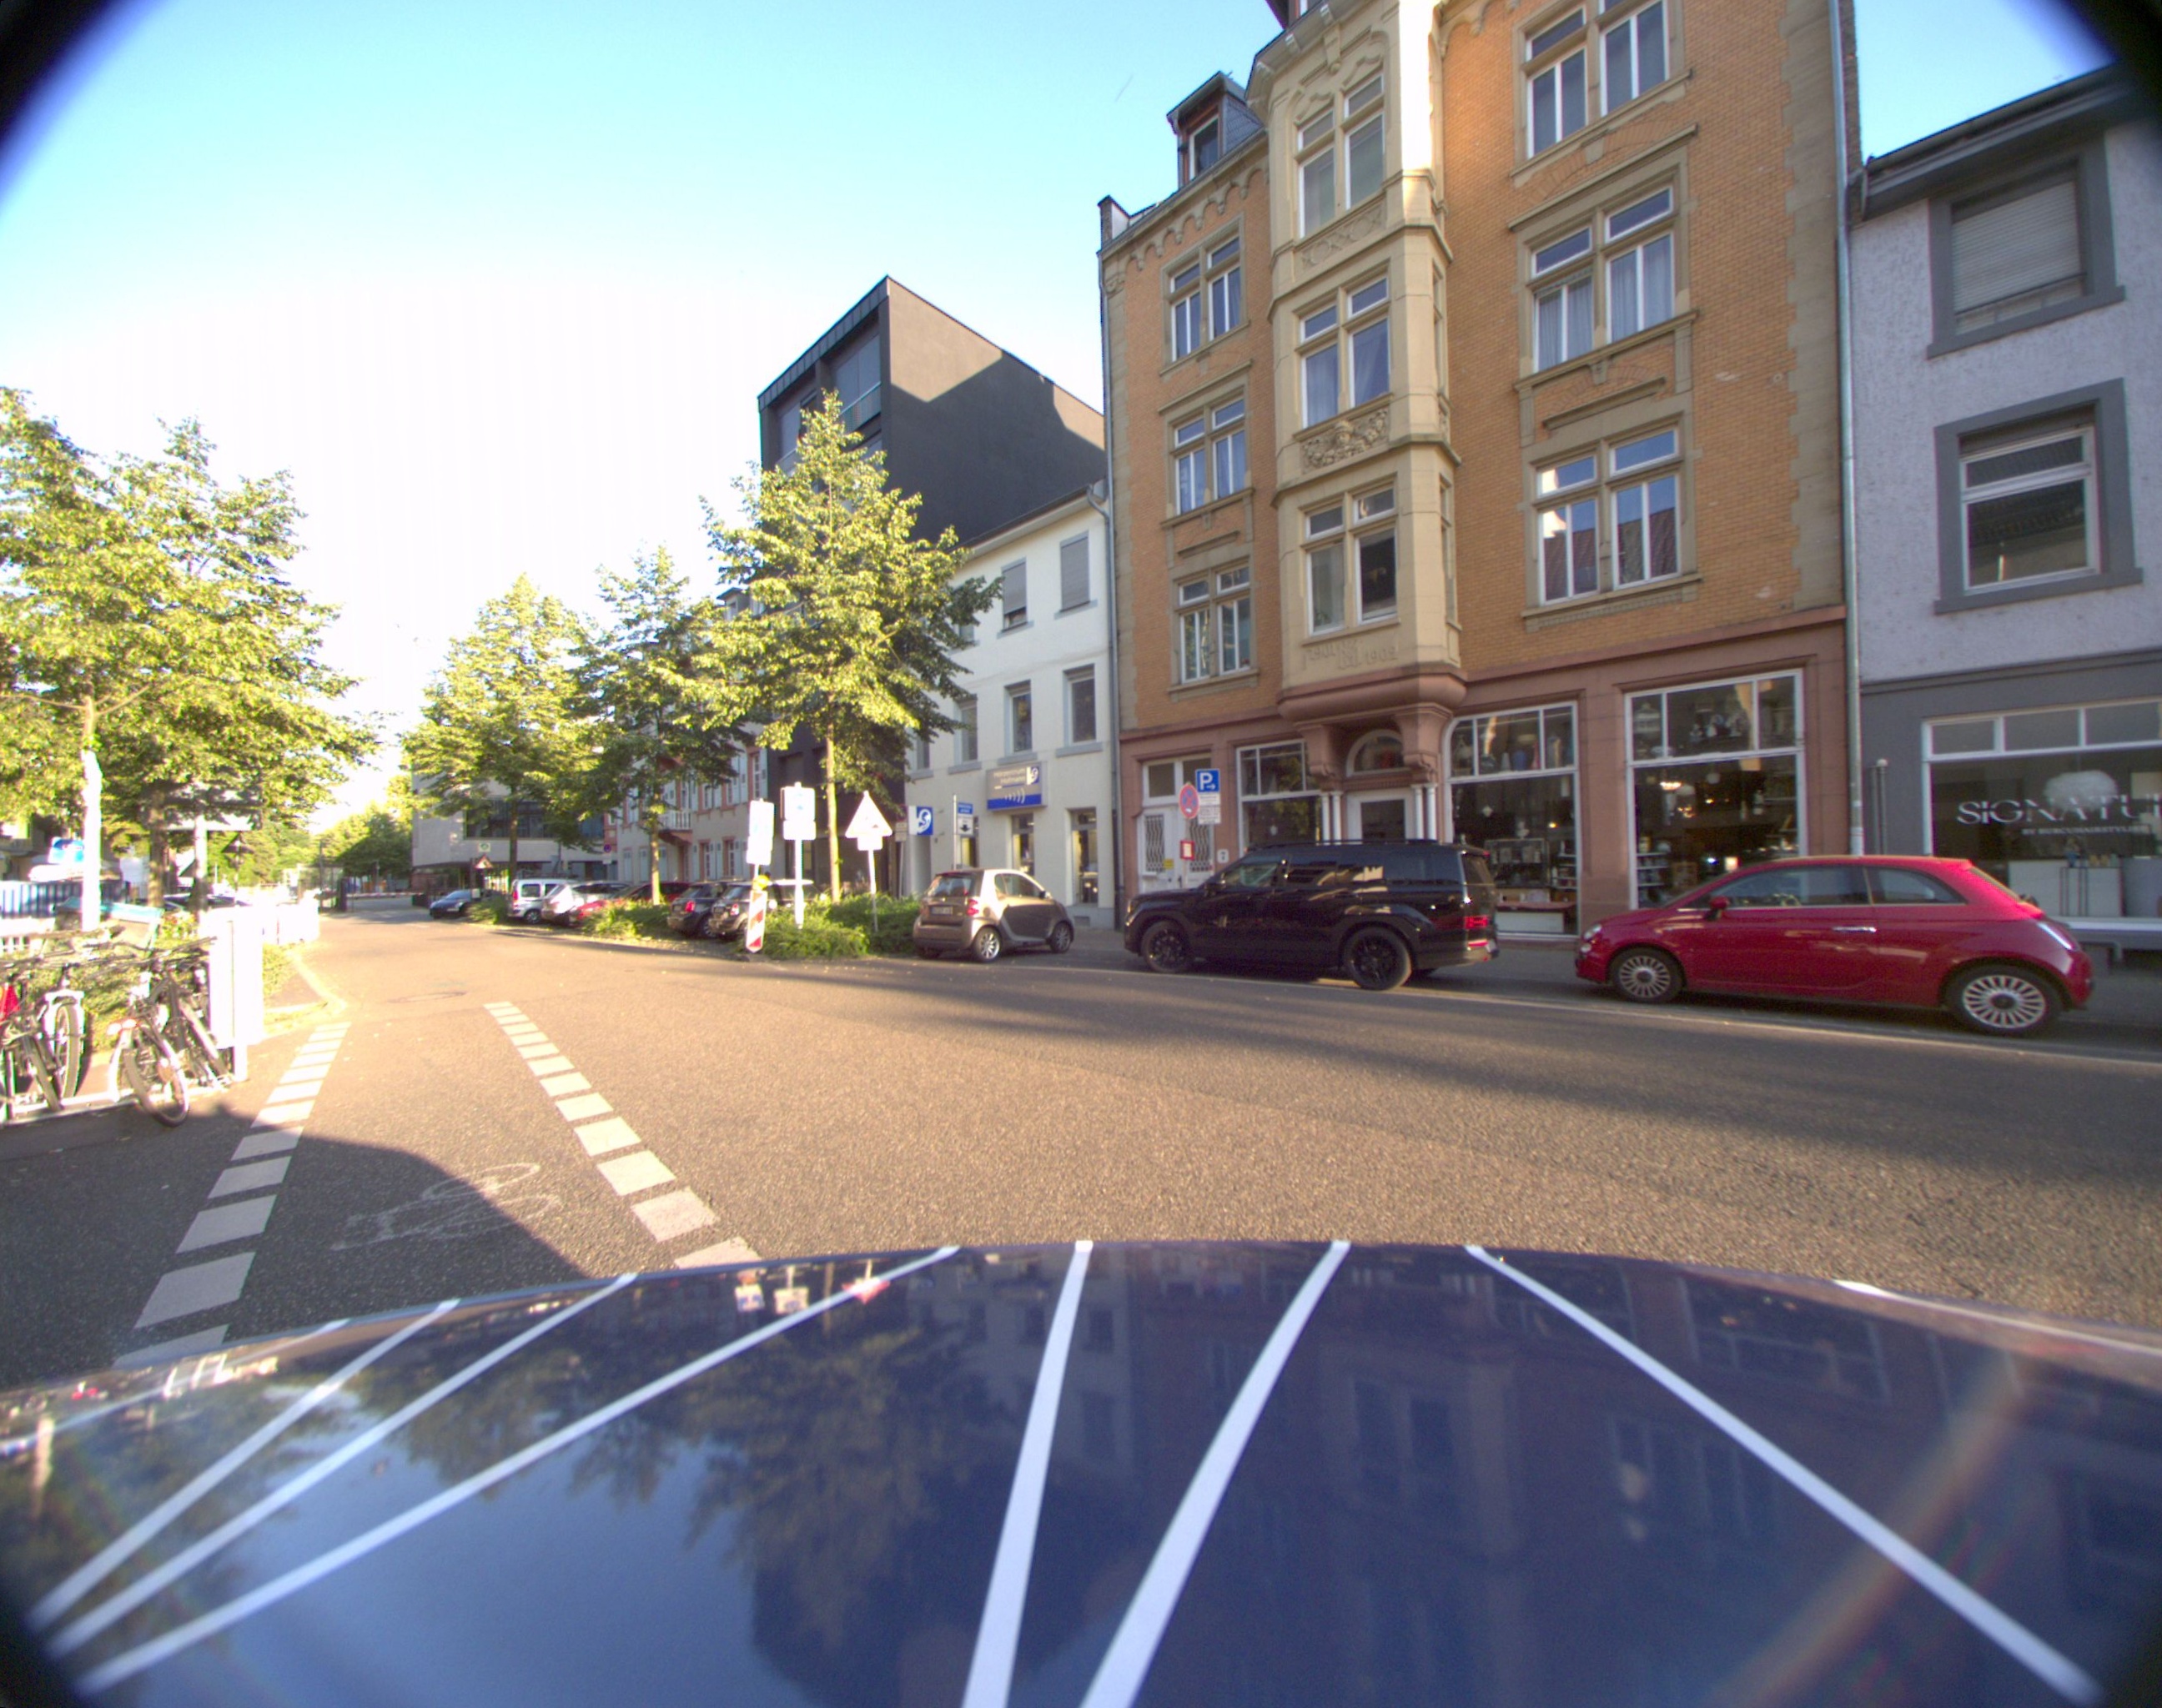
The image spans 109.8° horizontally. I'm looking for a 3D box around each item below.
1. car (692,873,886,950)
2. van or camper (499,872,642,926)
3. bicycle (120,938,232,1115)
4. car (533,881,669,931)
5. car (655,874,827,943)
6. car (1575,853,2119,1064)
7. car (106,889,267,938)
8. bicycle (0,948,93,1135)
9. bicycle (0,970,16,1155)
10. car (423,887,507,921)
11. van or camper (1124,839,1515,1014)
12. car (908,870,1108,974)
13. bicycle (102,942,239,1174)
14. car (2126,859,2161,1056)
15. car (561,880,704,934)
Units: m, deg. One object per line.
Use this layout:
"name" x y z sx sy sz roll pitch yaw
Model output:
"car" -7.001 1.323 18.554 1.853 1.659 4.018 -2 -3 40
"van or camper" -20.604 1.766 30.805 1.853 1.993 4.465 -2 -3 40
"bicycle" -7.366 1.329 6.226 1.548 1.171 0.510 -2 -1 43
"car" -17.054 1.793 27.123 1.853 1.659 3.706 -2 -3 40
"car" -8.891 1.370 20.094 1.853 1.659 3.706 -2 -3 40
"car" 6.991 0.835 7.386 3.412 1.560 1.534 -2 -2 44
"car" -35.282 2.308 30.161 1.886 1.673 4.009 -2 -2 45
"bicycle" -7.873 1.343 5.655 1.548 1.156 0.490 -2 -1 43
"bicycle" -6.691 1.319 4.320 0.419 1.150 1.548 -1 -1 -42
"car" -30.624 2.463 37.906 1.859 1.558 3.694 0 -2 -14
"van or camper" 2.958 0.813 9.898 4.448 1.796 1.900 -2 -2 37
"car" -1.199 1.108 13.660 1.503 1.566 3.489 -2 -1 40
"bicycle" -6.022 1.257 5.077 1.548 1.213 0.500 -2 -1 43
"car" 9.888 0.760 4.585 3.924 1.563 1.671 -2 -3 43
"car" -14.983 1.709 25.501 1.853 1.659 3.706 -2 -3 40
